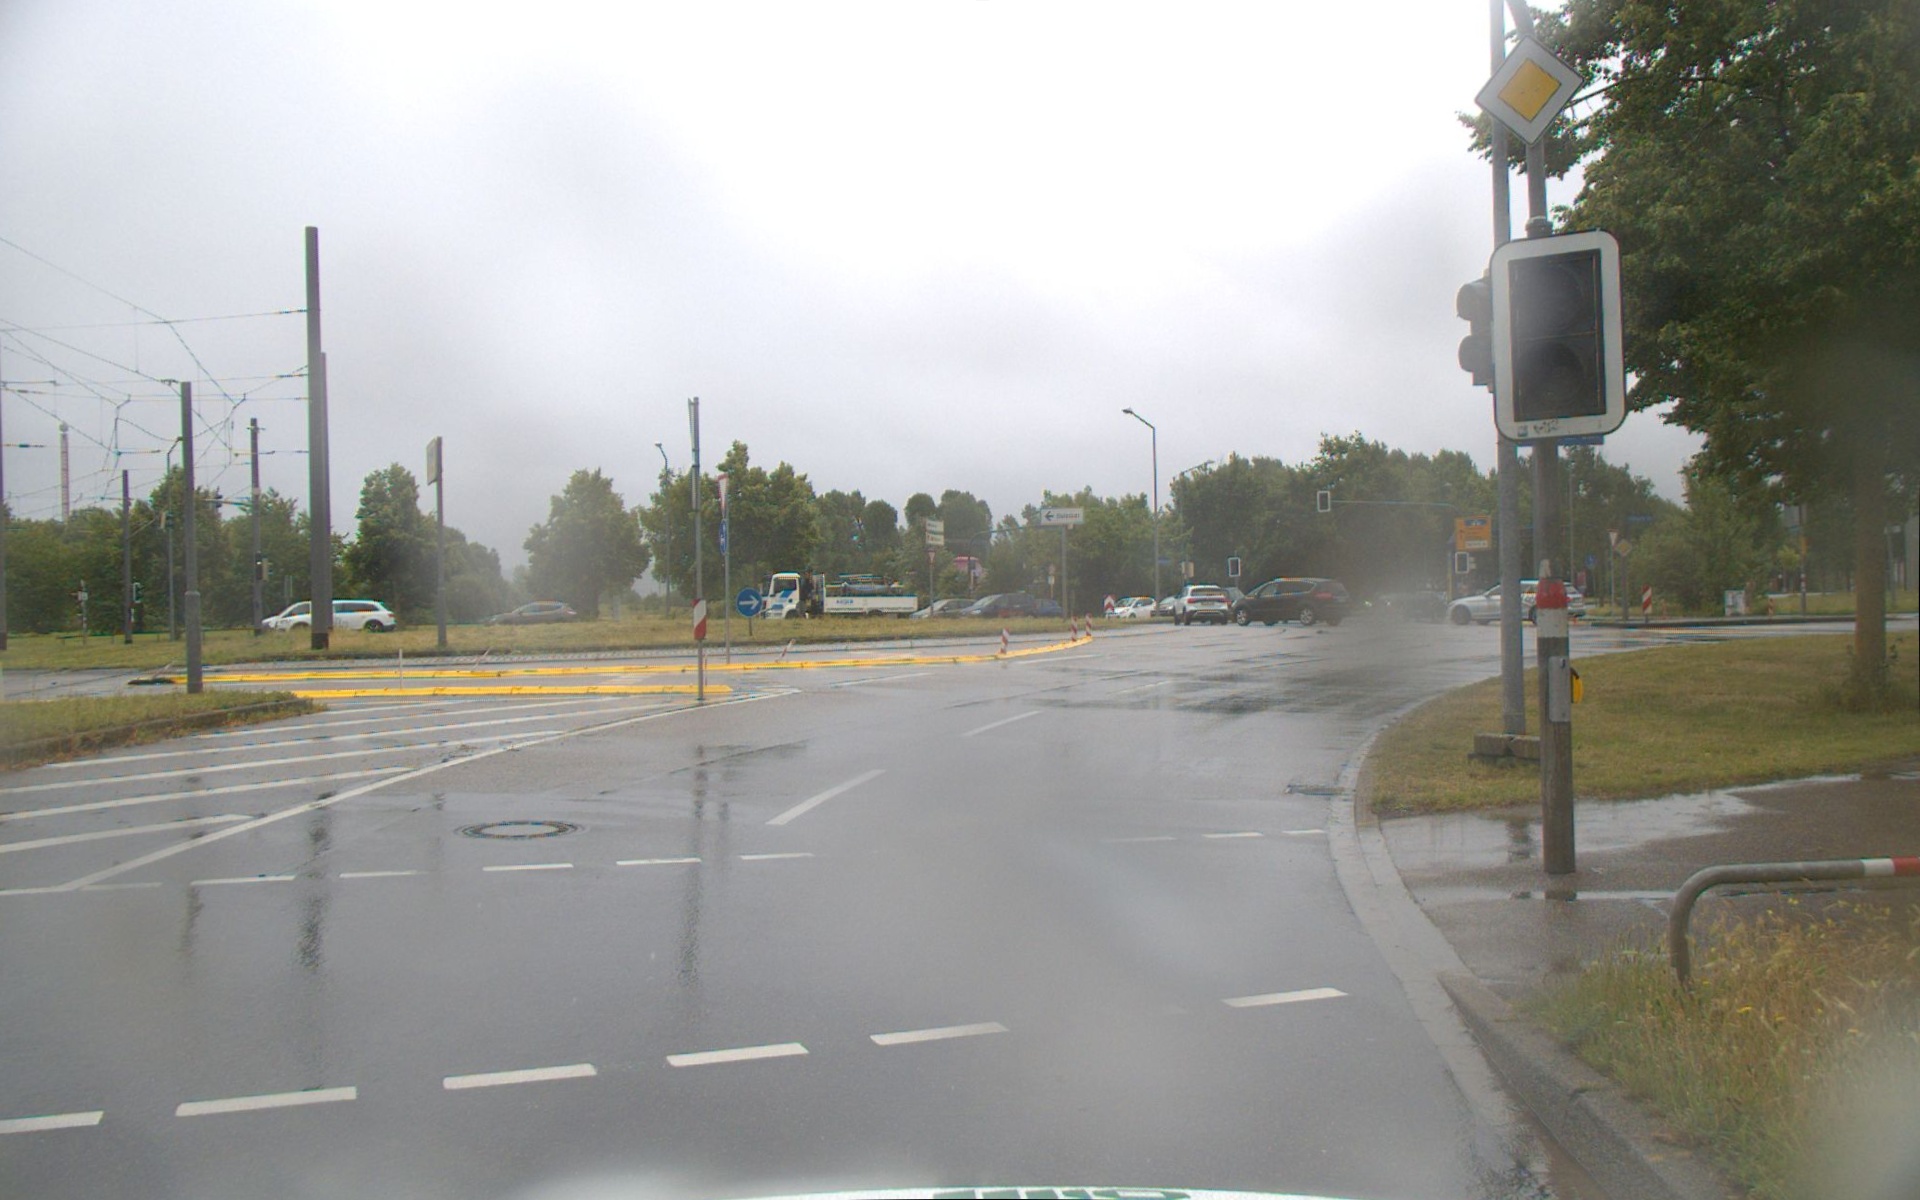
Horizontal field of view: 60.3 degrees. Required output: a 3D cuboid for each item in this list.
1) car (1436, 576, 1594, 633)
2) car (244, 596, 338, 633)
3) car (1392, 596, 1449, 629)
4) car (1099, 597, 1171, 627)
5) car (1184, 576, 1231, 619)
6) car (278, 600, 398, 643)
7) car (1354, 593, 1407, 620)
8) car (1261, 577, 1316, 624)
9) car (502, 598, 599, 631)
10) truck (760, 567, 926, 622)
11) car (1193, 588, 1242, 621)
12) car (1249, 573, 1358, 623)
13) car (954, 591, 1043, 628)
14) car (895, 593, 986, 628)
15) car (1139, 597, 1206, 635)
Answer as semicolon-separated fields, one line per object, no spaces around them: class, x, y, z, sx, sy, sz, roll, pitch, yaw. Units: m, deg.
car;18.718;0.125;55.892;4.741;1.842;1.782;1;0;36
car;-30.597;0.655;75.695;3.802;1.649;1.528;1;0;-31
car;22.812;0.616;81.914;1.661;1.518;3.238;-1;0;37
car;10.633;0.725;100.259;4.830;1.774;1.749;1;-1;-45
car;9.967;-0.081;66.736;1.645;1.676;3.949;1;0;5
car;-27.199;0.938;72.355;4.789;1.774;1.764;1;0;-26
car;28.984;0.448;113.954;1.965;1.780;3.975;1;0;42
car;14.992;0.044;75.451;1.747;2.072;3.999;1;0;22
car;-19.779;0.712;79.904;4.460;1.518;1.605;1;0;-16
truck;-6.204;-0.267;88.308;8.651;2.759;1.986;1;0;-24
car;12.313;0.215;78.942;1.654;1.518;3.251;1;0;21
car;12.251;-0.073;59.219;1.761;1.676;3.967;1;0;-26
car;1.957;0.503;83.223;1.747;1.774;4.835;1;0;43
car;-1.011;0.578;87.342;4.821;1.774;1.752;1;0;-41
car;11.936;0.894;92.714;3.969;2.049;1.650;1;-1;-44
